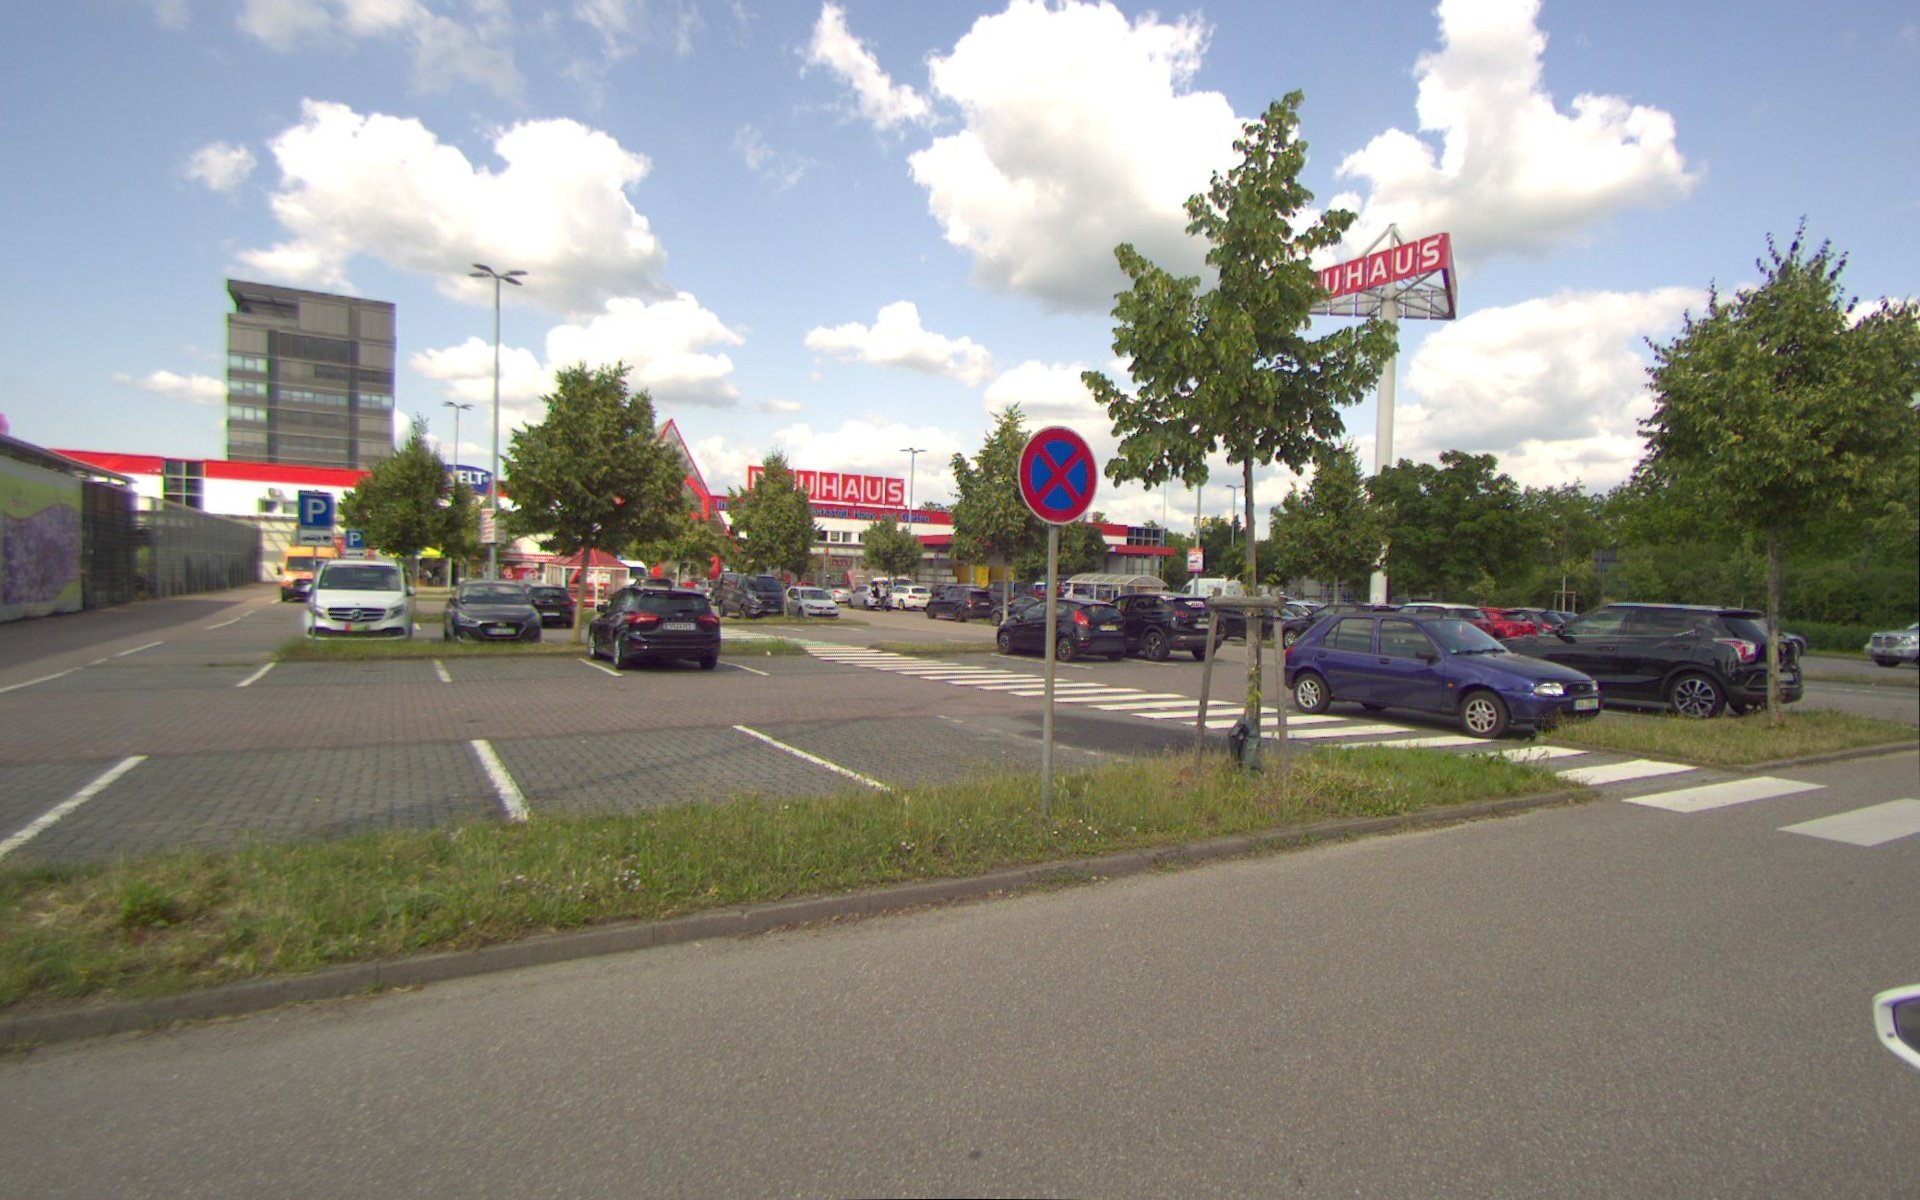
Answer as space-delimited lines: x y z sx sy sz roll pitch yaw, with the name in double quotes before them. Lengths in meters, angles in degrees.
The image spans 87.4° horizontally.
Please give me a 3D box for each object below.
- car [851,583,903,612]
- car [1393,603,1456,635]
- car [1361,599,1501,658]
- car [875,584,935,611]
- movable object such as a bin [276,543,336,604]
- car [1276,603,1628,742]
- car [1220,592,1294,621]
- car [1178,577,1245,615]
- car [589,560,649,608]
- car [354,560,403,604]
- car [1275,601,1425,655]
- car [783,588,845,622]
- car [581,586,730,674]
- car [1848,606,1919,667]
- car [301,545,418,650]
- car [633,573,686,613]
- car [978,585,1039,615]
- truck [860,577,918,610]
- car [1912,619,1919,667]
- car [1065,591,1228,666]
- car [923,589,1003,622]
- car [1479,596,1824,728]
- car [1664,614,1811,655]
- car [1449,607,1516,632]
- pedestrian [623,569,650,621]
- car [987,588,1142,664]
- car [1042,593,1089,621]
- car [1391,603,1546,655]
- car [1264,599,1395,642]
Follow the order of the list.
"car" -4.865 -0.161 58.457 1.709 1.528 3.209 5 -1 -32
"car" 33.200 1.350 71.769 4.004 2.045 1.934 3 -1 -26
"car" 14.038 0.813 30.079 1.691 1.602 3.417 1 1 -32
"car" -3.360 -0.165 60.665 1.977 1.529 3.967 1 1 -31
"movable object such as a bin" -29.467 -1.173 45.191 2.109 2.527 5.284 1 1 -35
"car" 5.982 0.784 12.656 1.602 1.386 3.733 1 1 -30
"car" 17.674 0.376 59.854 1.889 1.617 3.965 1 1 -31
"car" 18.436 -0.336 73.767 2.029 2.543 4.691 2 1 -29
"car" -20.146 -0.962 59.311 2.217 2.671 4.287 2 0 -35
"car" -30.129 -0.915 52.095 1.977 2.040 4.768 5 -1 -30
"car" 11.415 0.793 29.652 1.711 1.387 3.848 1 1 -33
"car" -6.669 0.214 45.558 1.721 1.405 3.536 1 1 -27
"car" -5.683 0.490 18.514 1.792 1.423 3.325 1 1 -33
"car" 32.403 1.225 32.695 5.044 1.867 1.991 2 1 3
"car" -13.178 -0.090 22.227 1.976 2.041 5.146 1 1 -30
"car" -15.935 -0.396 53.182 1.975 2.041 3.971 1 1 -27
"car" 3.062 -0.020 64.235 1.978 1.802 3.964 1 1 -33
"truck" -4.944 -0.452 68.918 1.838 2.040 5.368 5 -1 -28
"car" 32.032 1.407 30.302 4.629 1.470 1.840 2 1 6
"car" 4.595 0.655 25.251 1.764 1.646 4.049 1 1 -31
"car" 0.096 0.262 49.977 1.977 1.487 4.379 1 1 -31
"car" 10.234 0.820 15.204 1.714 1.646 3.934 1 1 -28
"car" 32.295 1.411 41.824 4.561 1.524 1.785 2 1 4
"car" 34.610 1.290 66.640 3.571 1.487 1.635 2 -1 4
"pedestrian" -12.916 -0.196 40.047 0.808 2.041 0.907 1 1 -32
"car" 2.464 0.579 24.444 1.766 1.646 3.670 1 1 -35
"car" 7.013 0.420 66.911 1.584 1.767 3.140 0 1 -31
"car" 15.983 0.865 31.757 1.747 1.417 4.052 1 1 -32
"car" 13.467 0.718 36.857 1.874 1.371 4.243 1 1 -32
